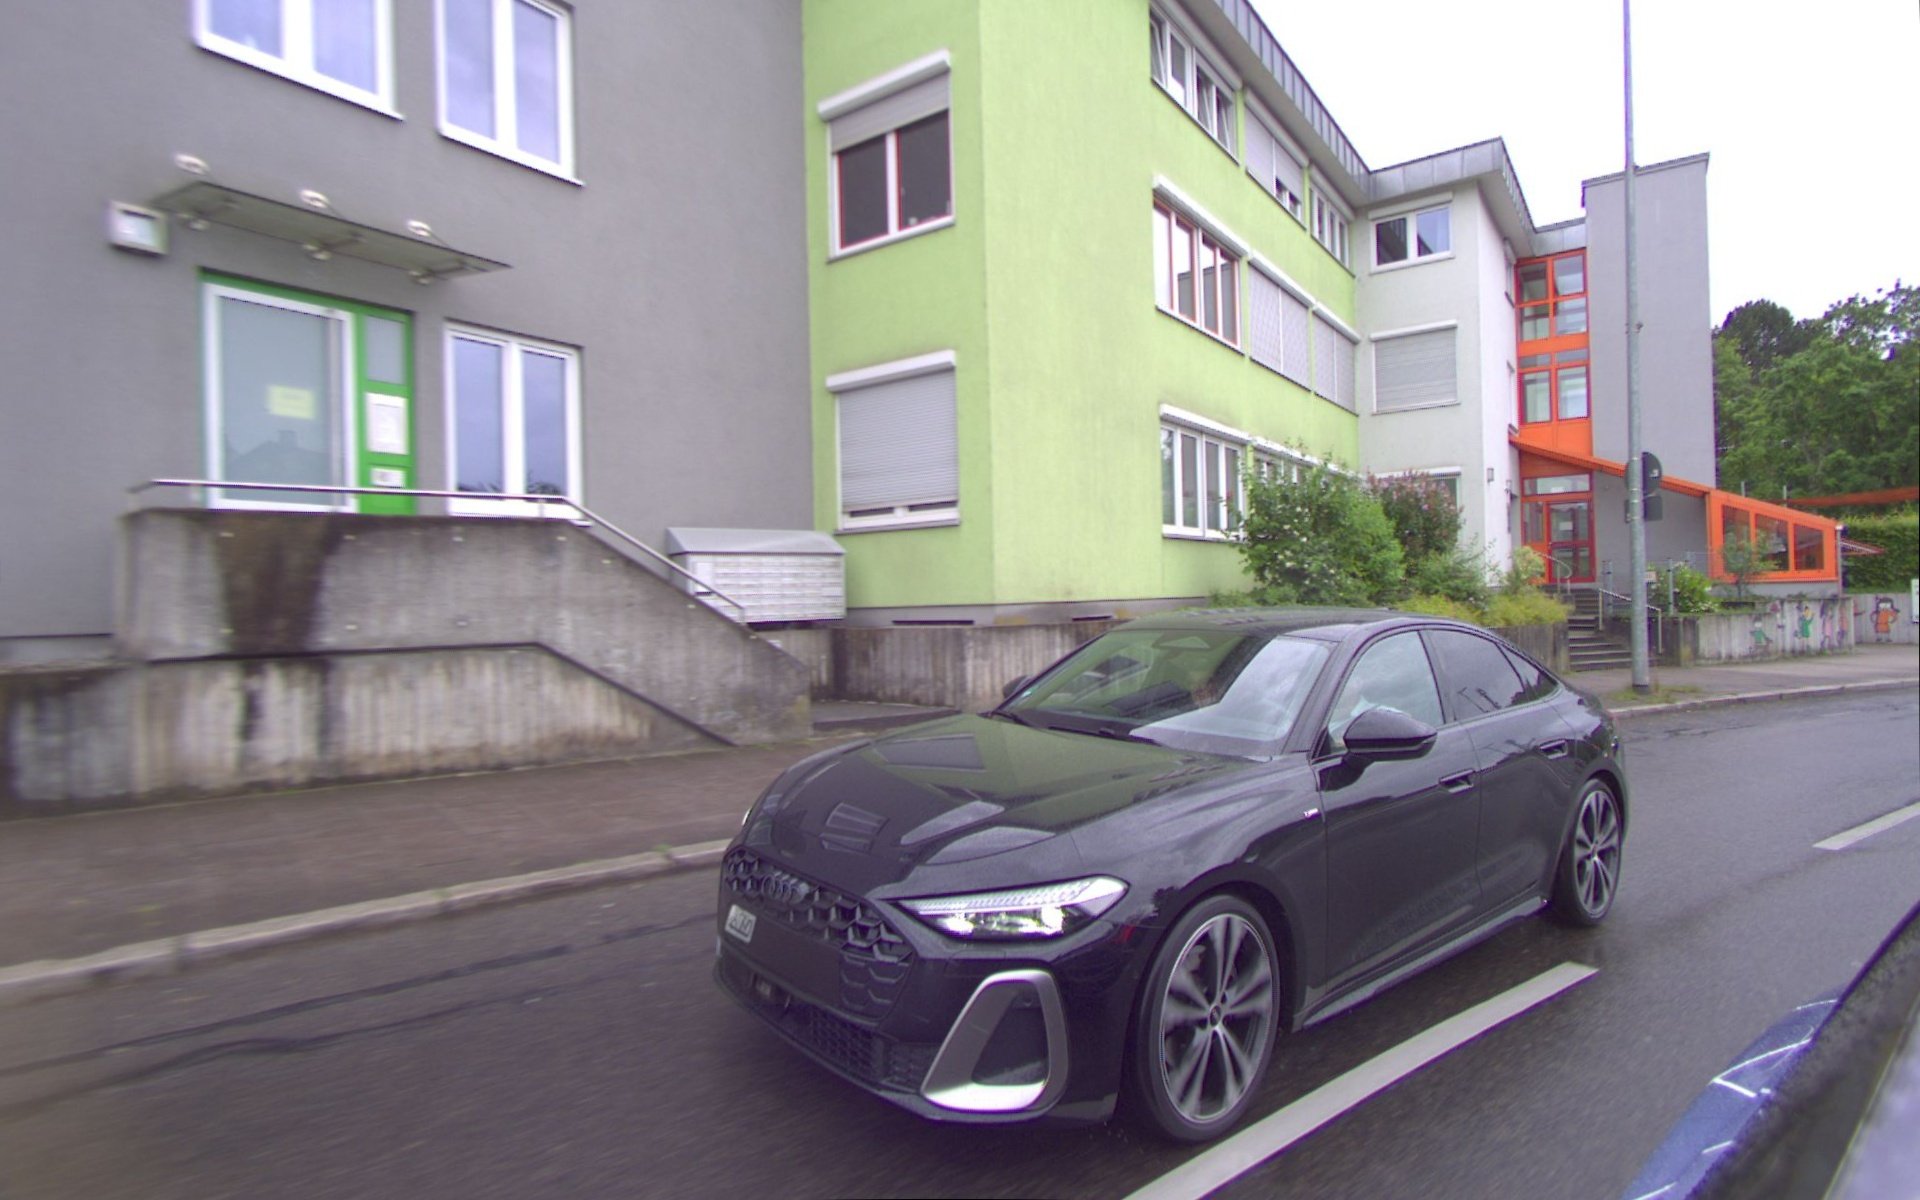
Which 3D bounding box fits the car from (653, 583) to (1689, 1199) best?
[{"bbox_3d":[1.295,0.712,4.379,4.655,1.442,1.870,-3,2,-39],"label":"car"}]
